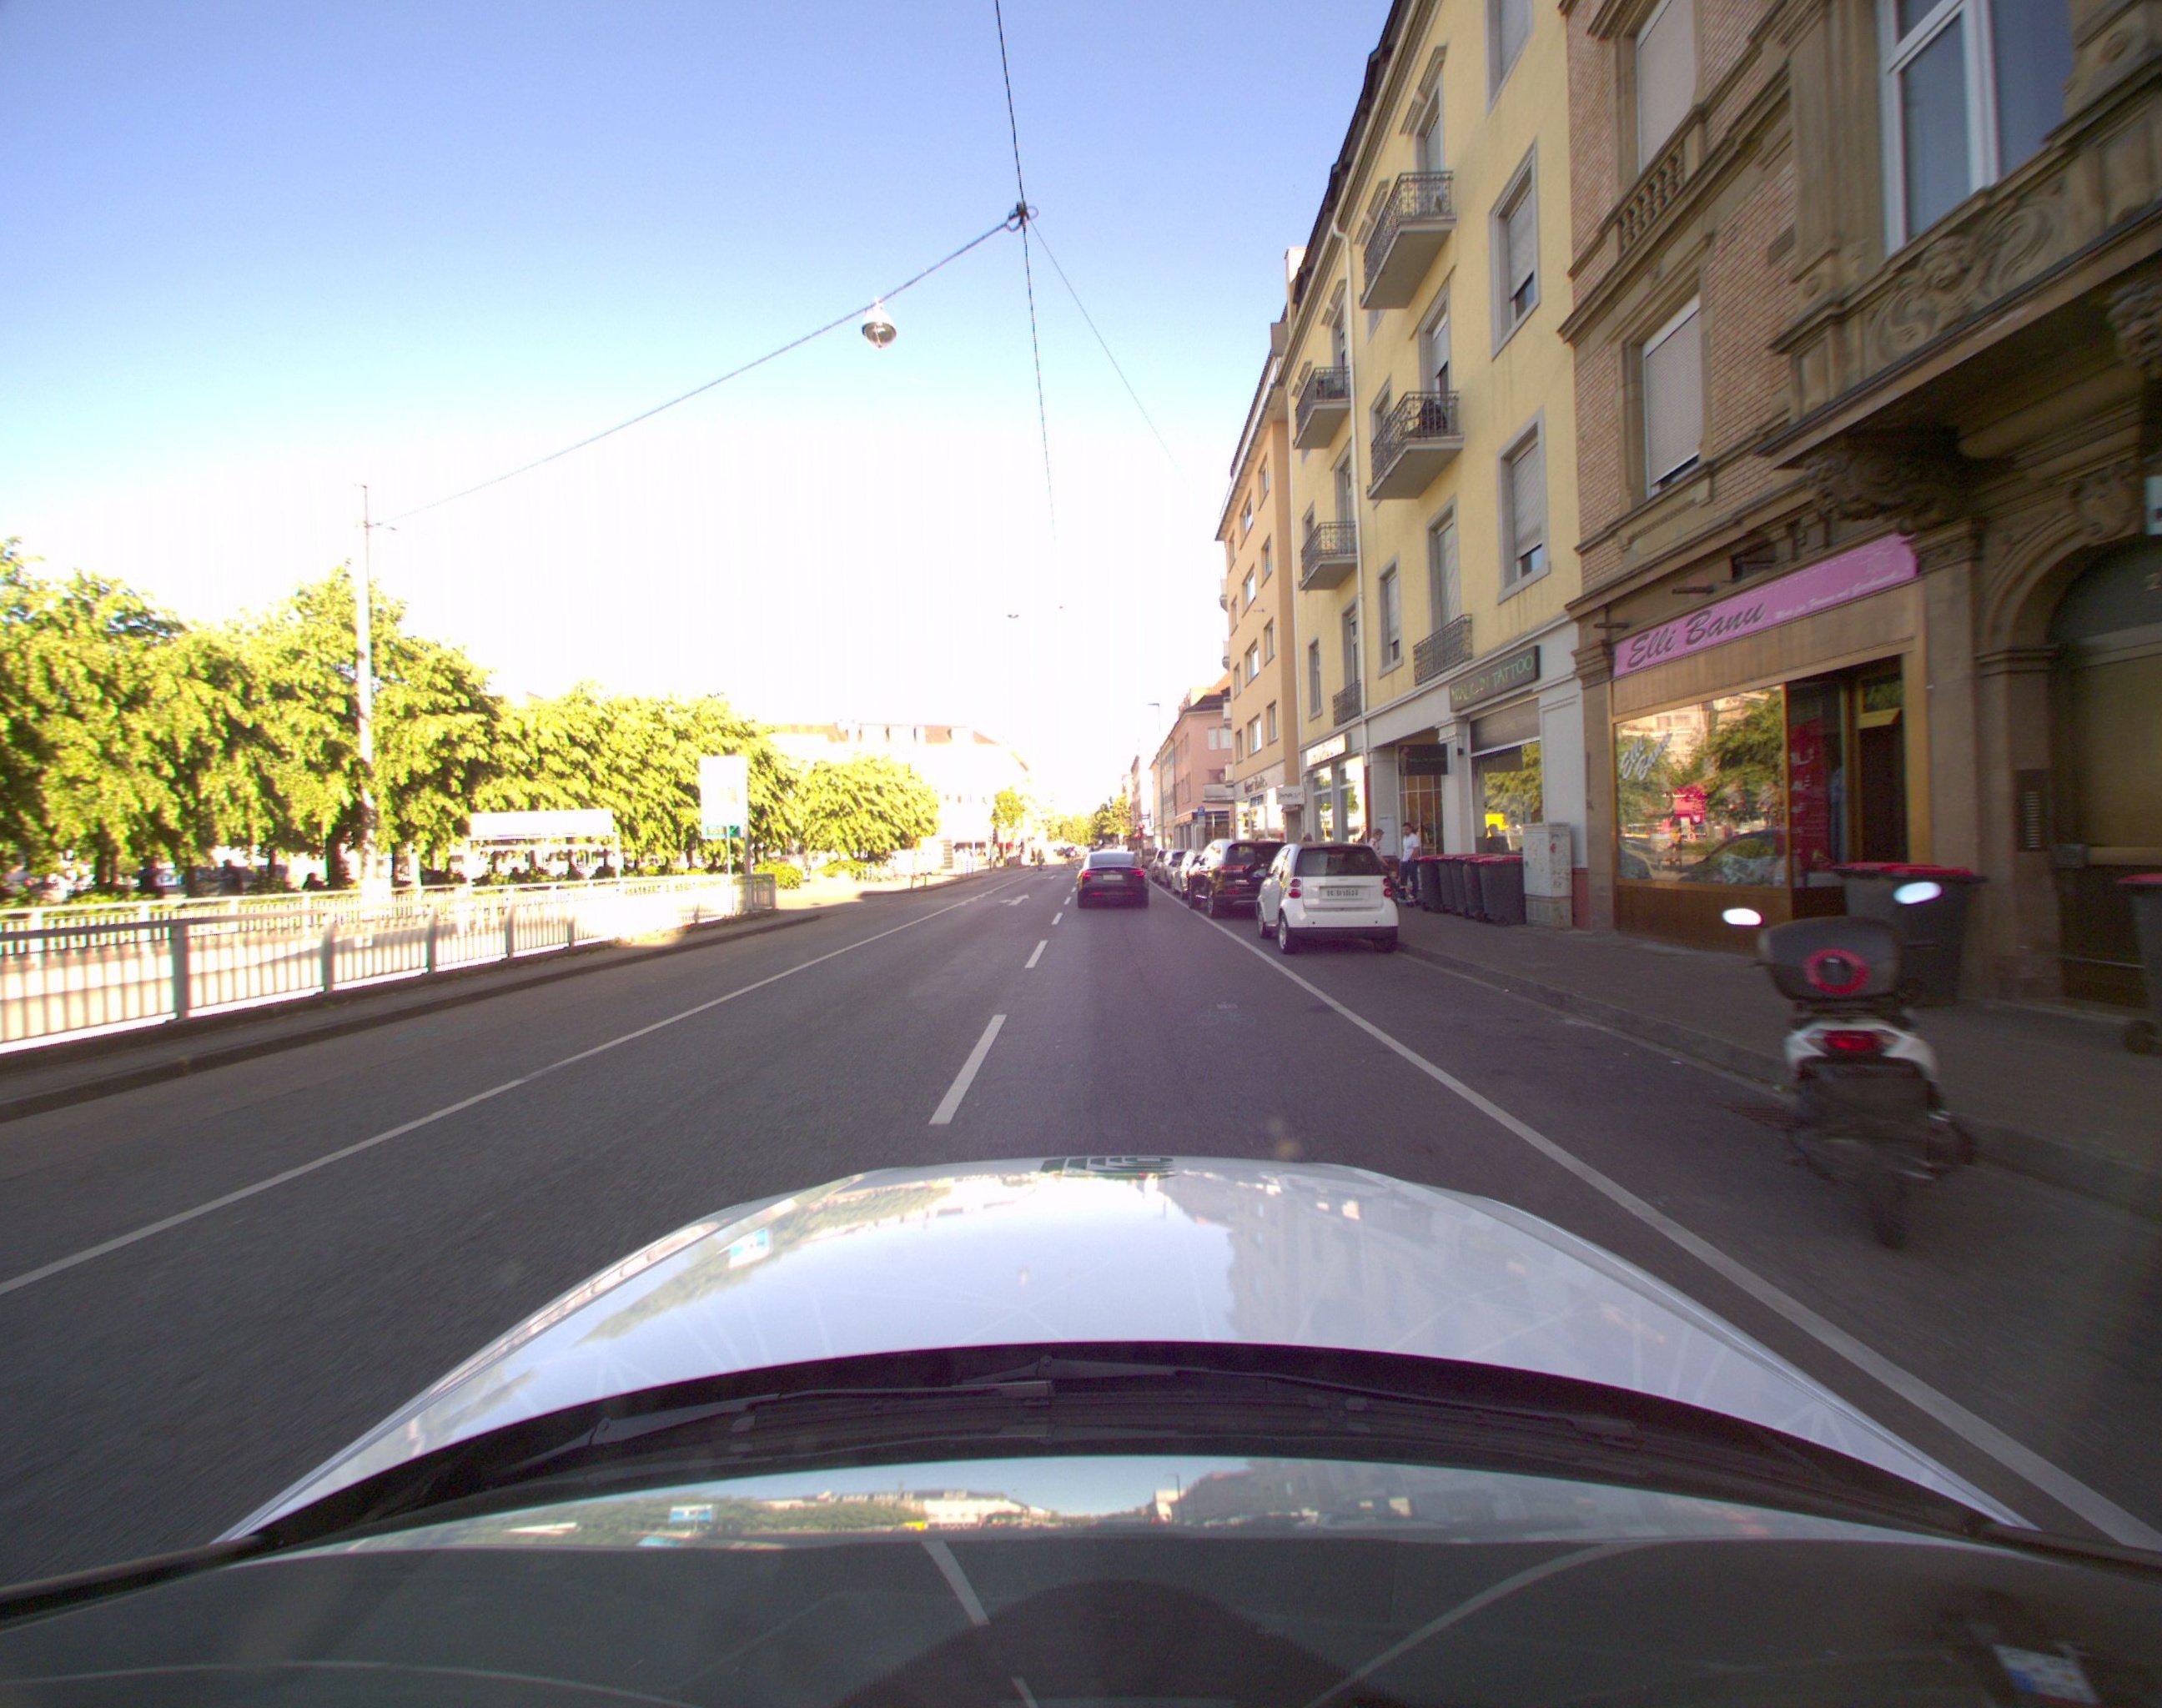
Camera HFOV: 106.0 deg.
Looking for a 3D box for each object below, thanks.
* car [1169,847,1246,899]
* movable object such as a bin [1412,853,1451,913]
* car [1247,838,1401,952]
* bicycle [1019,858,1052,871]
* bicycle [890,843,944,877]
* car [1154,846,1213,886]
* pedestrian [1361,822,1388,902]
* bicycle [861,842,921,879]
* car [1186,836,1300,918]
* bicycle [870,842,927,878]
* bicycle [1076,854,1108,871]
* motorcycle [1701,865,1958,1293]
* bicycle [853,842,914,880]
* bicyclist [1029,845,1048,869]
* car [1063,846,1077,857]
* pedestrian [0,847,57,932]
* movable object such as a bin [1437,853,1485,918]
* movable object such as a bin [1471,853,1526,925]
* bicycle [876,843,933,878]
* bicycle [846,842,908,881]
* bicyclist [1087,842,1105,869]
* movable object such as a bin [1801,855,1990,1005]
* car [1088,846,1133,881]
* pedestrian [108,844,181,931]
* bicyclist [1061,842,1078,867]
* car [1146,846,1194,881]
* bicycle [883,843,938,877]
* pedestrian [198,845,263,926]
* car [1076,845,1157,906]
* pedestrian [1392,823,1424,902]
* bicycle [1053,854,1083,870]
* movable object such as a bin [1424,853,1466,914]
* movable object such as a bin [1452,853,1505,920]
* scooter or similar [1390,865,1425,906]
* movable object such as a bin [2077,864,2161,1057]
[{"bbox_3d":[3.743,0.548,24.698,1.786,1.460,4.085,0,-1,1],"label":"car"},{"bbox_3d":[6.474,0.523,15.037,0.454,1.052,0.500,-3,0,0],"label":"movable object such as a bin"},{"bbox_3d":[3.579,0.535,12.435,1.607,1.546,2.857,0,1,2],"label":"car"},{"bbox_3d":[-3.263,0.732,58.585,2.233,0.883,0.925,-1,0,4],"label":"bicycle"},{"bbox_3d":[-10.095,0.355,50.243,3.102,2.013,0.911,-1,0,10],"label":"bicycle"},{"bbox_3d":[3.864,0.449,31.244,1.786,1.460,3.868,0,-1,0],"label":"car"},{"bbox_3d":[6.116,0.159,16.986,0.467,1.635,0.515,-1,0,17],"label":"pedestrian"},{"bbox_3d":[-10.738,0.372,46.040,3.102,2.013,0.911,-1,0,10],"label":"bicycle"},{"bbox_3d":[3.497,0.474,18.265,1.711,1.635,4.083,0,-1,-1],"label":"car"},{"bbox_3d":[-10.544,0.348,47.084,3.102,2.013,0.911,-1,0,10],"label":"bicycle"},{"bbox_3d":[0.708,0.534,53.048,2.006,1.022,0.887,-1,0,-3],"label":"bicycle"},{"bbox_3d":[3.340,0.744,3.602,2.056,1.328,0.648,-2,0,-45],"label":"motorcycle"},{"bbox_3d":[-10.902,0.394,45.050,3.102,2.013,0.911,-1,0,10],"label":"bicycle"},{"bbox_3d":[-3.053,0.224,58.564,1.141,1.686,0.916,-1,0,4],"label":"bicyclist"},{"bbox_3d":[-1.835,-0.471,133.877,1.985,1.771,4.003,-1,1,2],"label":"car"},{"bbox_3d":[-27.024,0.892,20.751,0.726,2.108,0.973,-1,0,23],"label":"pedestrian"},{"bbox_3d":[6.491,0.523,13.944,0.477,1.052,0.632,-3,0,0],"label":"movable object such as a bin"},{"bbox_3d":[6.468,0.529,12.626,0.477,1.052,0.632,-3,0,0],"label":"movable object such as a bin"},{"bbox_3d":[-10.417,0.360,48.166,3.102,2.013,0.911,-1,0,10],"label":"bicycle"},{"bbox_3d":[-11.040,0.416,44.096,3.102,2.013,0.911,-1,0,10],"label":"bicycle"},{"bbox_3d":[0.970,0.085,53.075,1.143,1.686,0.918,-1,0,-2],"label":"bicyclist"},{"bbox_3d":[6.417,0.567,6.464,0.641,1.076,0.820,-3,0,2],"label":"movable object such as a bin"},{"bbox_3d":[1.415,0.401,37.594,1.927,1.487,4.275,-1,1,3],"label":"car"},{"bbox_3d":[-23.283,0.813,20.251,0.726,2.108,0.973,-1,0,23],"label":"pedestrian"},{"bbox_3d":[-0.795,0.043,55.912,1.143,1.686,0.819,-1,0,-3],"label":"bicyclist"},{"bbox_3d":[3.889,0.416,36.106,1.786,1.460,3.869,0,-1,1],"label":"car"},{"bbox_3d":[-10.278,0.368,49.202,3.102,2.013,0.911,-1,0,10],"label":"bicycle"},{"bbox_3d":[-22.745,0.831,21.792,0.726,2.108,0.973,-1,0,23],"label":"pedestrian"},{"bbox_3d":[0.890,0.556,22.340,1.989,1.480,4.494,0,-1,0],"label":"car"},{"bbox_3d":[6.925,0.172,17.249,0.468,1.635,0.514,-1,0,6],"label":"pedestrian"},{"bbox_3d":[-0.908,0.531,55.908,2.006,1.022,0.761,-1,0,-3],"label":"bicycle"},{"bbox_3d":[6.490,0.519,14.536,0.477,1.052,0.468,-3,0,0],"label":"movable object such as a bin"},{"bbox_3d":[6.479,0.517,13.296,0.493,1.052,0.632,-3,0,0],"label":"movable object such as a bin"},{"bbox_3d":[6.602,0.633,16.470,0.574,0.779,0.469,-4,0,17],"label":"scooter or similar"},{"bbox_3d":[6.398,0.602,4.637,0.642,1.052,0.632,-3,0,0],"label":"movable object such as a bin"}]
